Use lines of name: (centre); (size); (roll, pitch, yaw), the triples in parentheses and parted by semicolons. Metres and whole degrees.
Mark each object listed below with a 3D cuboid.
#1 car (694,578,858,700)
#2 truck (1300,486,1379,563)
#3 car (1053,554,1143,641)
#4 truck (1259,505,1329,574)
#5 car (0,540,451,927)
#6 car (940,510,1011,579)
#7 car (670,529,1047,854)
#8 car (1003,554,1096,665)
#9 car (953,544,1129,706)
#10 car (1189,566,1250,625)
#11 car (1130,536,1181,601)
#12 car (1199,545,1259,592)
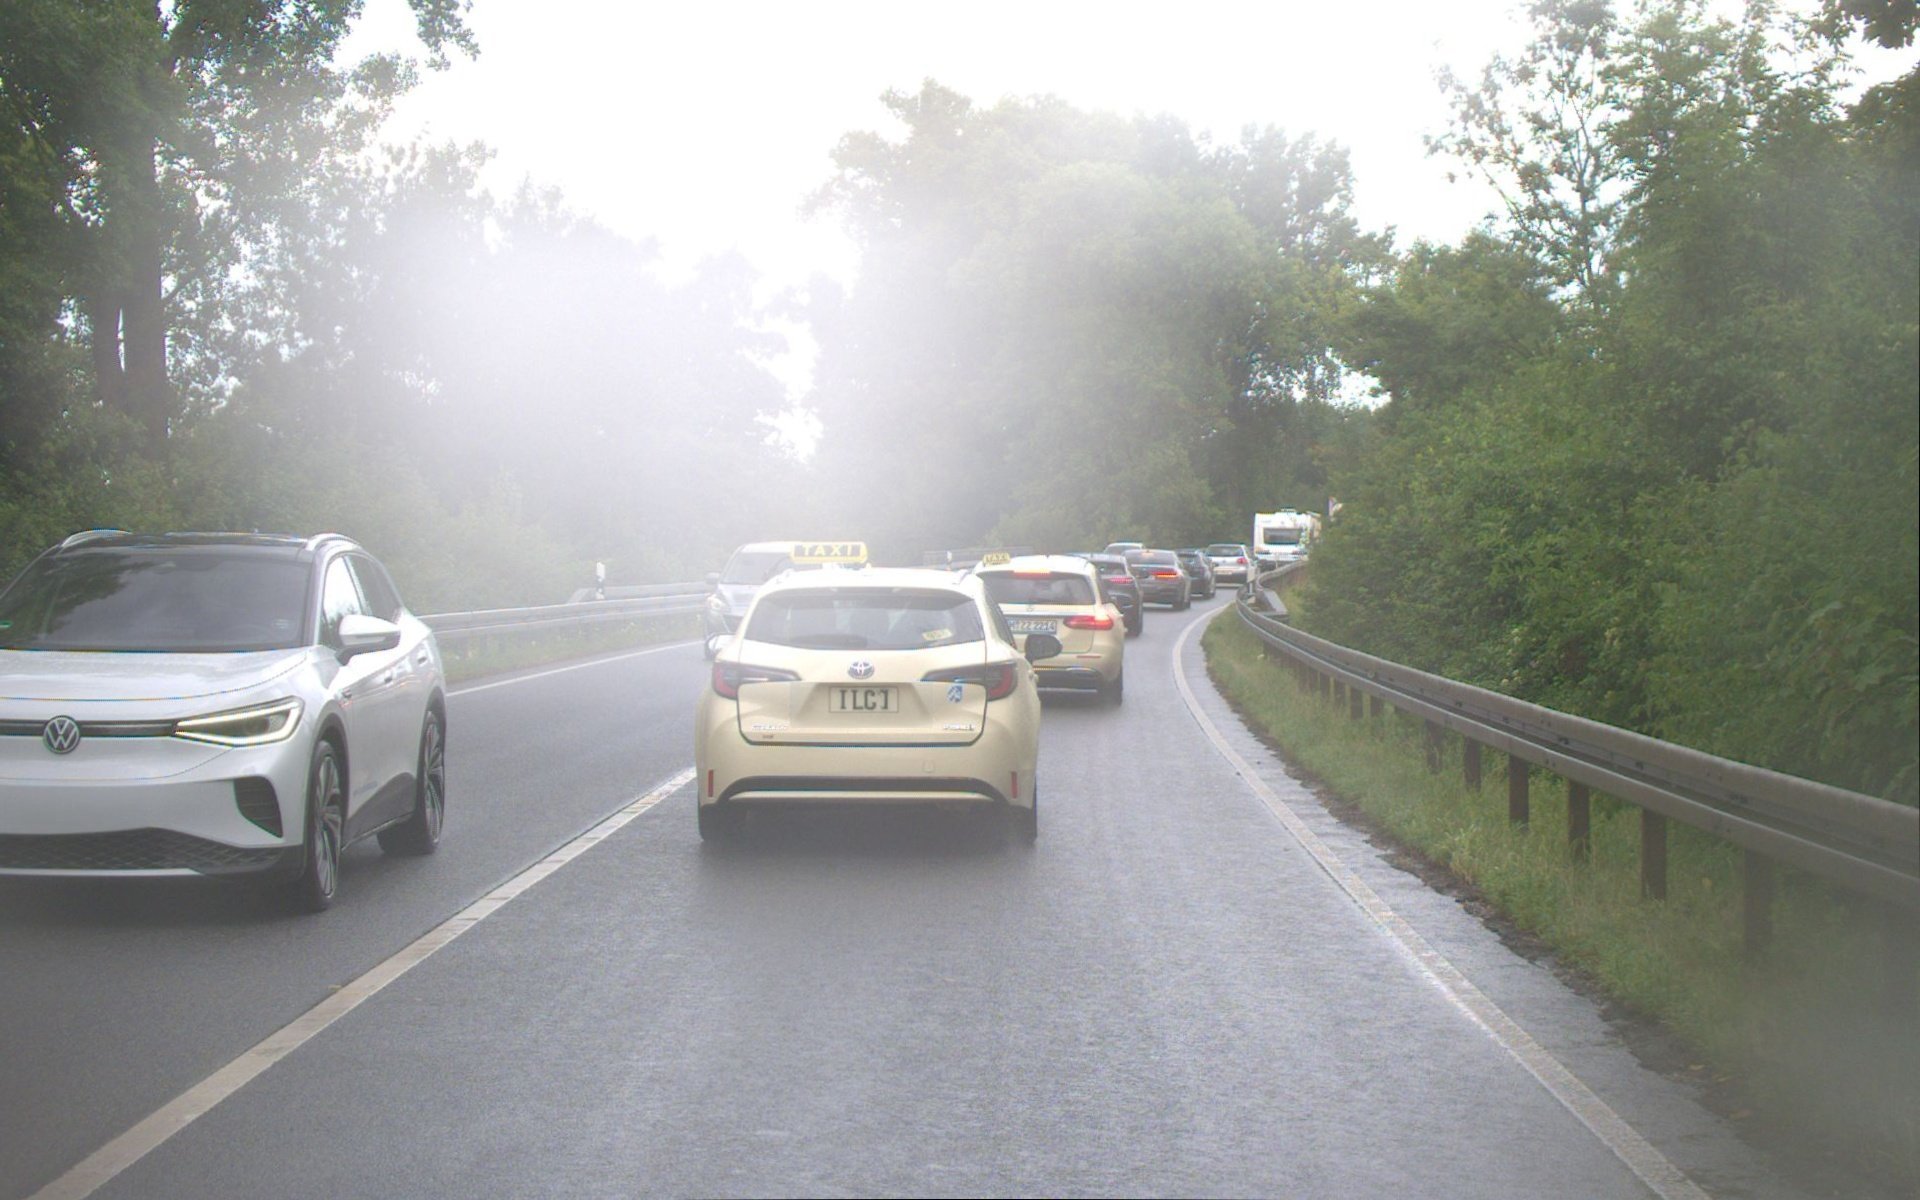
car: (-2.537, 0.503, 48.359); (1.693, 1.568, 4.374); (1, 1, 5)
truck: (18.954, -3.746, 171.422); (3.109, 3.668, 6.996); (0, 0, 13)
car: (2.543, -0.026, 63.399); (1.611, 1.541, 3.813); (0, -1, 2)
truck: (13.865, -2.483, 143.072); (2.550, 2.704, 7.534); (0, 0, 3)
car: (-3.536, 0.494, 15.646); (1.807, 1.527, 4.206); (0, 1, 0)
car: (0.496, -1.665, 103.611); (1.993, 2.007, 4.000); (0, 0, 2)
car: (-0.447, 0.448, 18.914); (1.834, 1.575, 4.156); (0, 0, 1)
car: (1.288, 0.135, 49.905); (1.300, 1.541, 3.260); (0, 0, 1)
car: (0.884, 0.245, 35.534); (1.668, 1.575, 3.891); (0, 0, 3)
car: (7.292, -0.132, 96.452); (1.616, 1.607, 3.621); (0, 0, 6)
car: (4.722, -0.740, 82.810); (1.167, 1.541, 2.603); (0, 0, 5)
car: (9.077, -1.040, 115.804); (1.770, 1.541, 3.813); (0, 0, 8)
